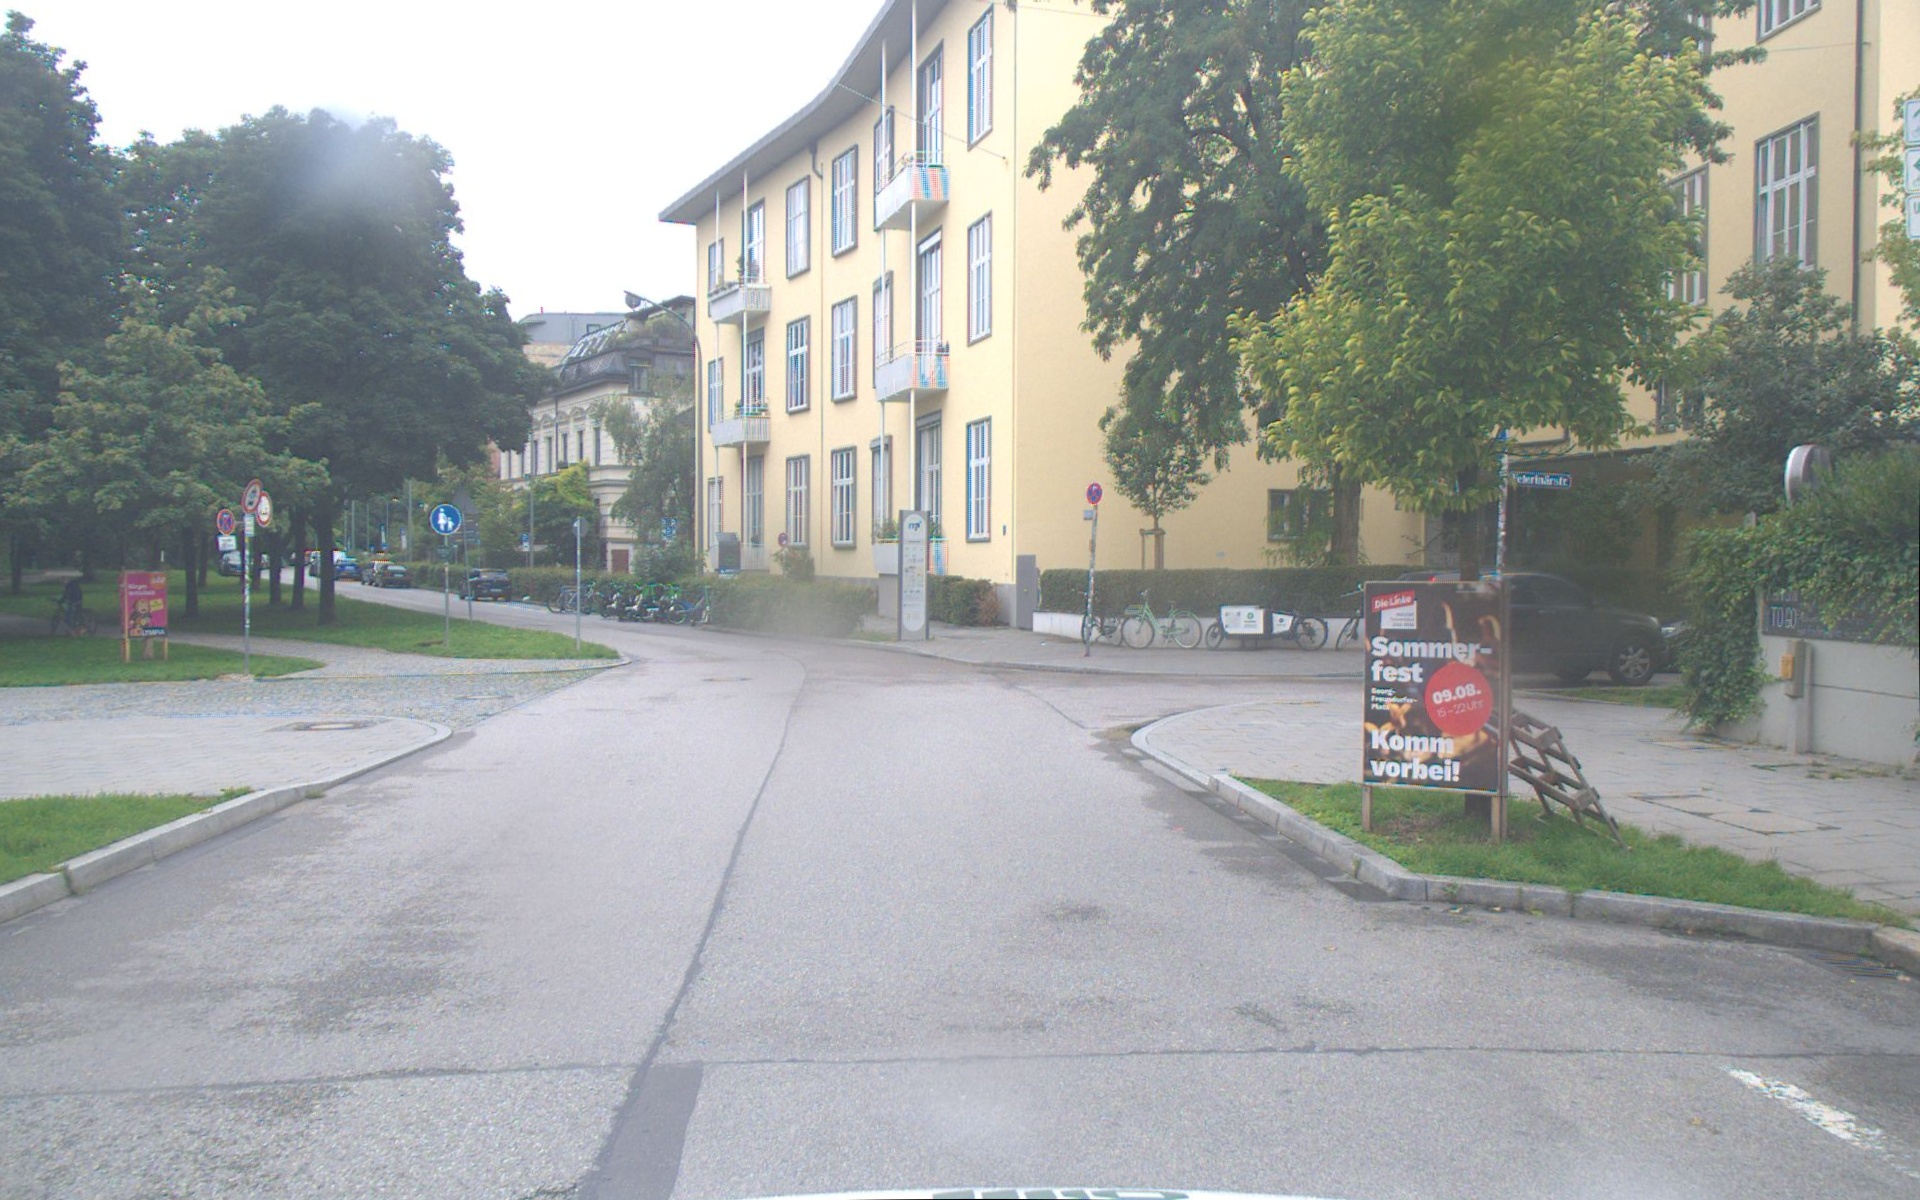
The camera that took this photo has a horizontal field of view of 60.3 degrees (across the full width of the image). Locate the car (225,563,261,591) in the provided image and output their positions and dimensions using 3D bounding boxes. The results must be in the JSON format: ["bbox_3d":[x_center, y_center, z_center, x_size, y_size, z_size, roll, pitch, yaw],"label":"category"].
[{"bbox_3d":[-48.843,-1.594,112.622,1.970,1.870,3.965,0,1,-27],"label":"car"}]

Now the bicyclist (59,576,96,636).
[{"bbox_3d":[-22.240,0.143,41.692,0.616,1.486,0.644,0,1,-8],"label":"bicyclist"}]

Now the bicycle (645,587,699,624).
[{"bbox_3d":[-9.067,0.162,52.144,0.565,1.104,1.930,0,1,29],"label":"bicycle"}]

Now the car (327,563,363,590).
[{"bbox_3d":[-42.908,-1.634,115.361,1.854,1.847,3.964,0,1,-28],"label":"car"}]

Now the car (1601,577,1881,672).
[{"bbox_3d":[12.908,0.388,27.469,3.896,1.460,1.605,-1,0,-2],"label":"car"}]

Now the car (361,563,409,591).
[{"bbox_3d":[-35.735,-1.442,102.758,2.151,1.686,4.465,0,1,-28],"label":"car"}]

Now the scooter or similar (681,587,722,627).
[{"bbox_3d":[-7.608,0.197,48.686,0.485,1.128,1.409,0,1,25],"label":"scooter or similar"}]

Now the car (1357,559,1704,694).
[{"bbox_3d":[8.119,0.335,23.785,4.281,1.723,2.000,-2,1,-5],"label":"car"}]

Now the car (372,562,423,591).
[{"bbox_3d":[-33.130,-1.393,97.357,2.151,1.686,4.465,0,1,-28],"label":"car"}]

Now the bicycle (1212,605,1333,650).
[{"bbox_3d":[5.830,0.506,30.849,2.164,0.792,0.610,0,1,18],"label":"bicycle"}]

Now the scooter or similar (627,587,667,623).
[{"bbox_3d":[-10.031,0.141,53.043,0.485,1.107,1.409,0,1,25],"label":"scooter or similar"}]

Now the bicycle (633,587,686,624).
[{"bbox_3d":[-9.564,0.171,52.695,0.565,1.104,1.930,0,1,29],"label":"bicycle"}]

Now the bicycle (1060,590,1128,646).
[{"bbox_3d":[2.762,0.346,34.389,0.599,1.091,2.206,-1,1,-18],"label":"bicycle"}]

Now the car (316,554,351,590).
[{"bbox_3d":[-46.918,-2.092,123.789,1.854,2.613,4.888,0,1,-27],"label":"car"}]

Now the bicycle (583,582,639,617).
[{"bbox_3d":[-11.771,-0.037,55.845,0.747,1.104,2.141,0,1,22],"label":"bicycle"}]

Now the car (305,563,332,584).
[{"bbox_3d":[-51.995,-2.131,134.049,1.625,1.681,4.247,-1,1,-27],"label":"car"}]

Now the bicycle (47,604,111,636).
[{"bbox_3d":[-22.219,0.494,41.718,1.331,0.789,0.439,0,1,-8],"label":"bicycle"}]

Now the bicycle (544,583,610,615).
[{"bbox_3d":[-14.244,-0.049,61.527,2.309,1.104,0.685,-2,1,-33],"label":"bicycle"}]

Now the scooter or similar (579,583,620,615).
[{"bbox_3d":[-13.042,-0.030,59.876,1.379,1.107,0.595,-1,1,-10],"label":"scooter or similar"}]

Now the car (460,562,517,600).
[{"bbox_3d":[-21.368,-0.858,74.864,1.839,1.662,4.250,0,1,-25],"label":"car"}]

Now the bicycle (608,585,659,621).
[{"bbox_3d":[-10.535,0.083,53.374,0.624,1.104,1.986,0,1,22],"label":"bicycle"}]

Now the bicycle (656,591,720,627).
[{"bbox_3d":[-8.206,0.264,49.965,1.804,1.023,0.572,-2,1,-30],"label":"bicycle"}]

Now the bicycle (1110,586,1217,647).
[{"bbox_3d":[3.943,0.306,32.176,0.605,1.136,2.182,-1,1,-43],"label":"bicycle"}]

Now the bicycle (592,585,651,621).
[{"bbox_3d":[-11.054,0.074,54.091,0.681,1.104,2.339,0,1,22],"label":"bicycle"}]
